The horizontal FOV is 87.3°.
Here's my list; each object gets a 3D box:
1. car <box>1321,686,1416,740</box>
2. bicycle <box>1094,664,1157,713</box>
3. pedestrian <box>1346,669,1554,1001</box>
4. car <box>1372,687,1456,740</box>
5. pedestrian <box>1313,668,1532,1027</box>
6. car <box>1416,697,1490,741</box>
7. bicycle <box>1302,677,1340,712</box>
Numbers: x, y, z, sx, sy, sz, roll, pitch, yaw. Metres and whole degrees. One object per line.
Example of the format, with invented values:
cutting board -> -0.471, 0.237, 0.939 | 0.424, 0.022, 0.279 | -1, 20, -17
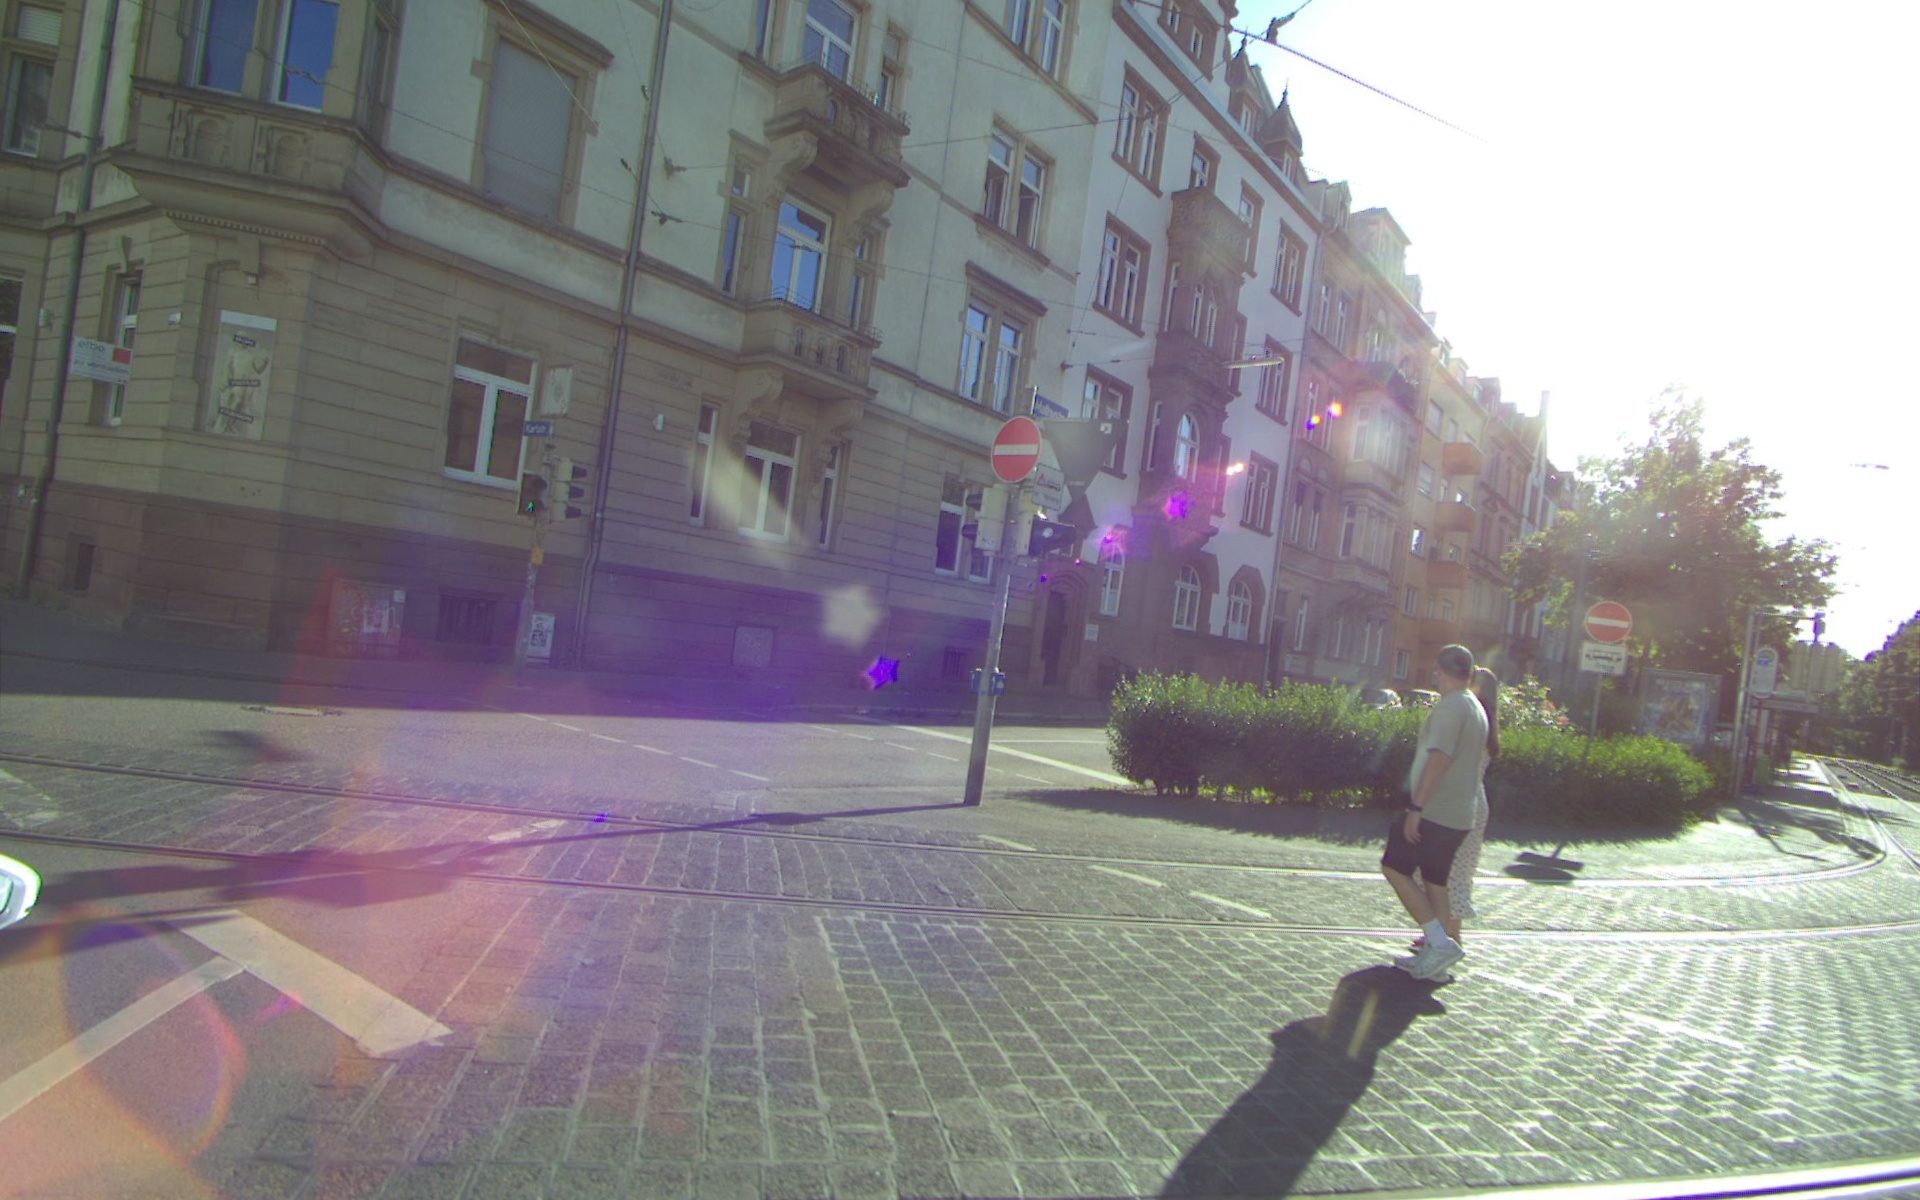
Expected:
car -> 14.069, 3.907, 34.531 | 1.866, 1.414, 3.988 | 9, -1, 38
bicycle -> 4.565, 2.455, 27.642 | 0.518, 1.187, 2.185 | 7, -1, 41
pedestrian -> 2.891, 1.348, 5.963 | 0.639, 1.764, 0.700 | 9, -2, -30
car -> 17.523, 4.405, 38.766 | 1.866, 1.586, 3.988 | 9, -1, 38
pedestrian -> 2.435, 1.252, 5.309 | 0.696, 1.674, 0.626 | 7, 0, -35
car -> 20.920, 5.052, 42.628 | 1.866, 1.414, 3.988 | 9, -1, 38
bicycle -> 13.862, 3.622, 38.579 | 0.518, 1.187, 2.185 | 7, -1, 41
